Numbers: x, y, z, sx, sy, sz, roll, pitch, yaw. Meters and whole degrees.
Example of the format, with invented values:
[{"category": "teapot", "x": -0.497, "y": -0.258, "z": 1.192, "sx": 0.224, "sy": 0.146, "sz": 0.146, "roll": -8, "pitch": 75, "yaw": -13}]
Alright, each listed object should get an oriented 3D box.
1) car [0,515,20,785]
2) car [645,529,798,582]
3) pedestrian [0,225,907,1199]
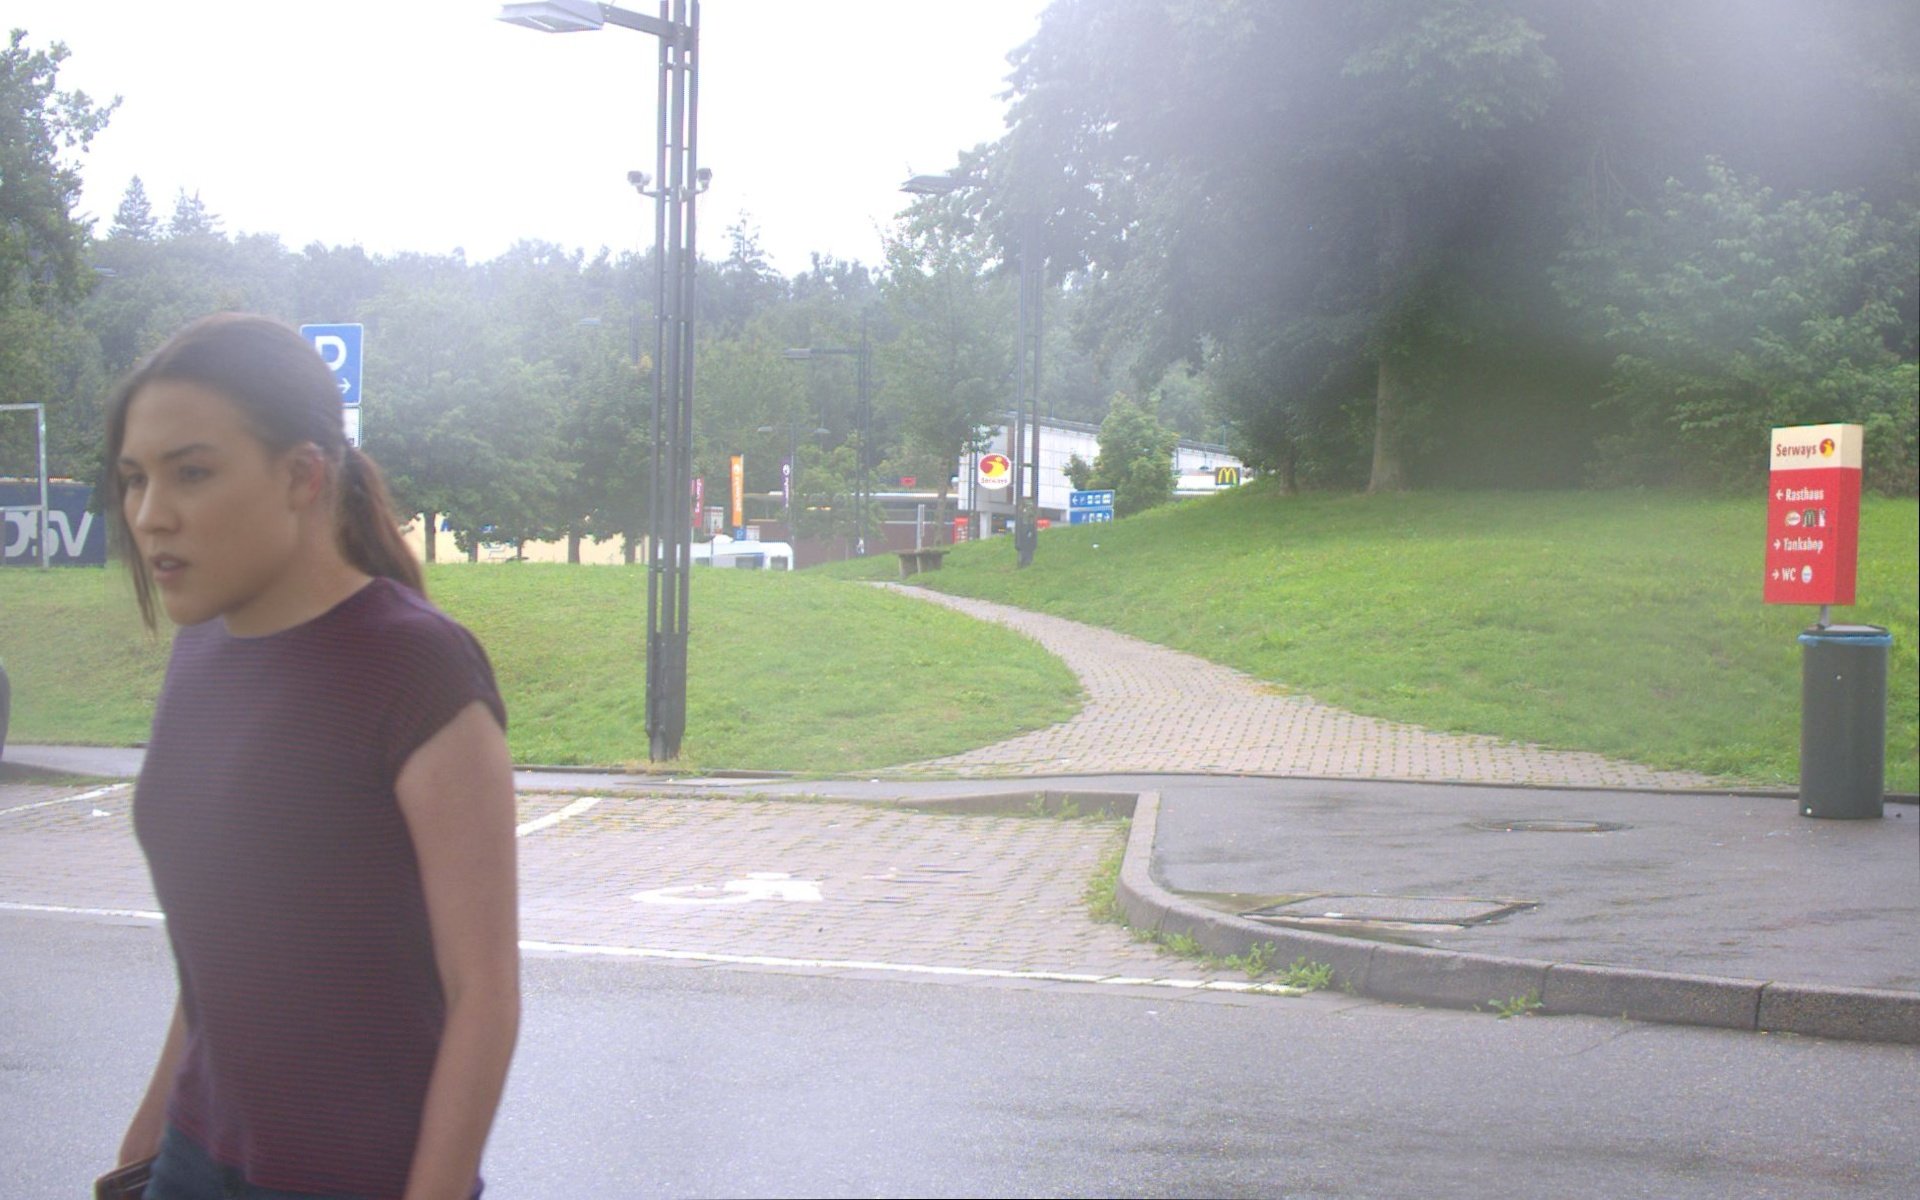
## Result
[{"category": "car", "x": -7.767, "y": 0.375, "z": 21.462, "sx": 1.885, "sy": 1.821, "sz": 4.411, "roll": 0, "pitch": 1, "yaw": 11}, {"category": "car", "x": -9.270, "y": -1.733, "z": 133.760, "sx": 5.429, "sy": 2.007, "sz": 2.453, "roll": 1, "pitch": 1, "yaw": 20}, {"category": "pedestrian", "x": -0.605, "y": 0.591, "z": 3.022, "sx": 0.795, "sy": 1.728, "sz": 0.838, "roll": 0, "pitch": 1, "yaw": 31}]
